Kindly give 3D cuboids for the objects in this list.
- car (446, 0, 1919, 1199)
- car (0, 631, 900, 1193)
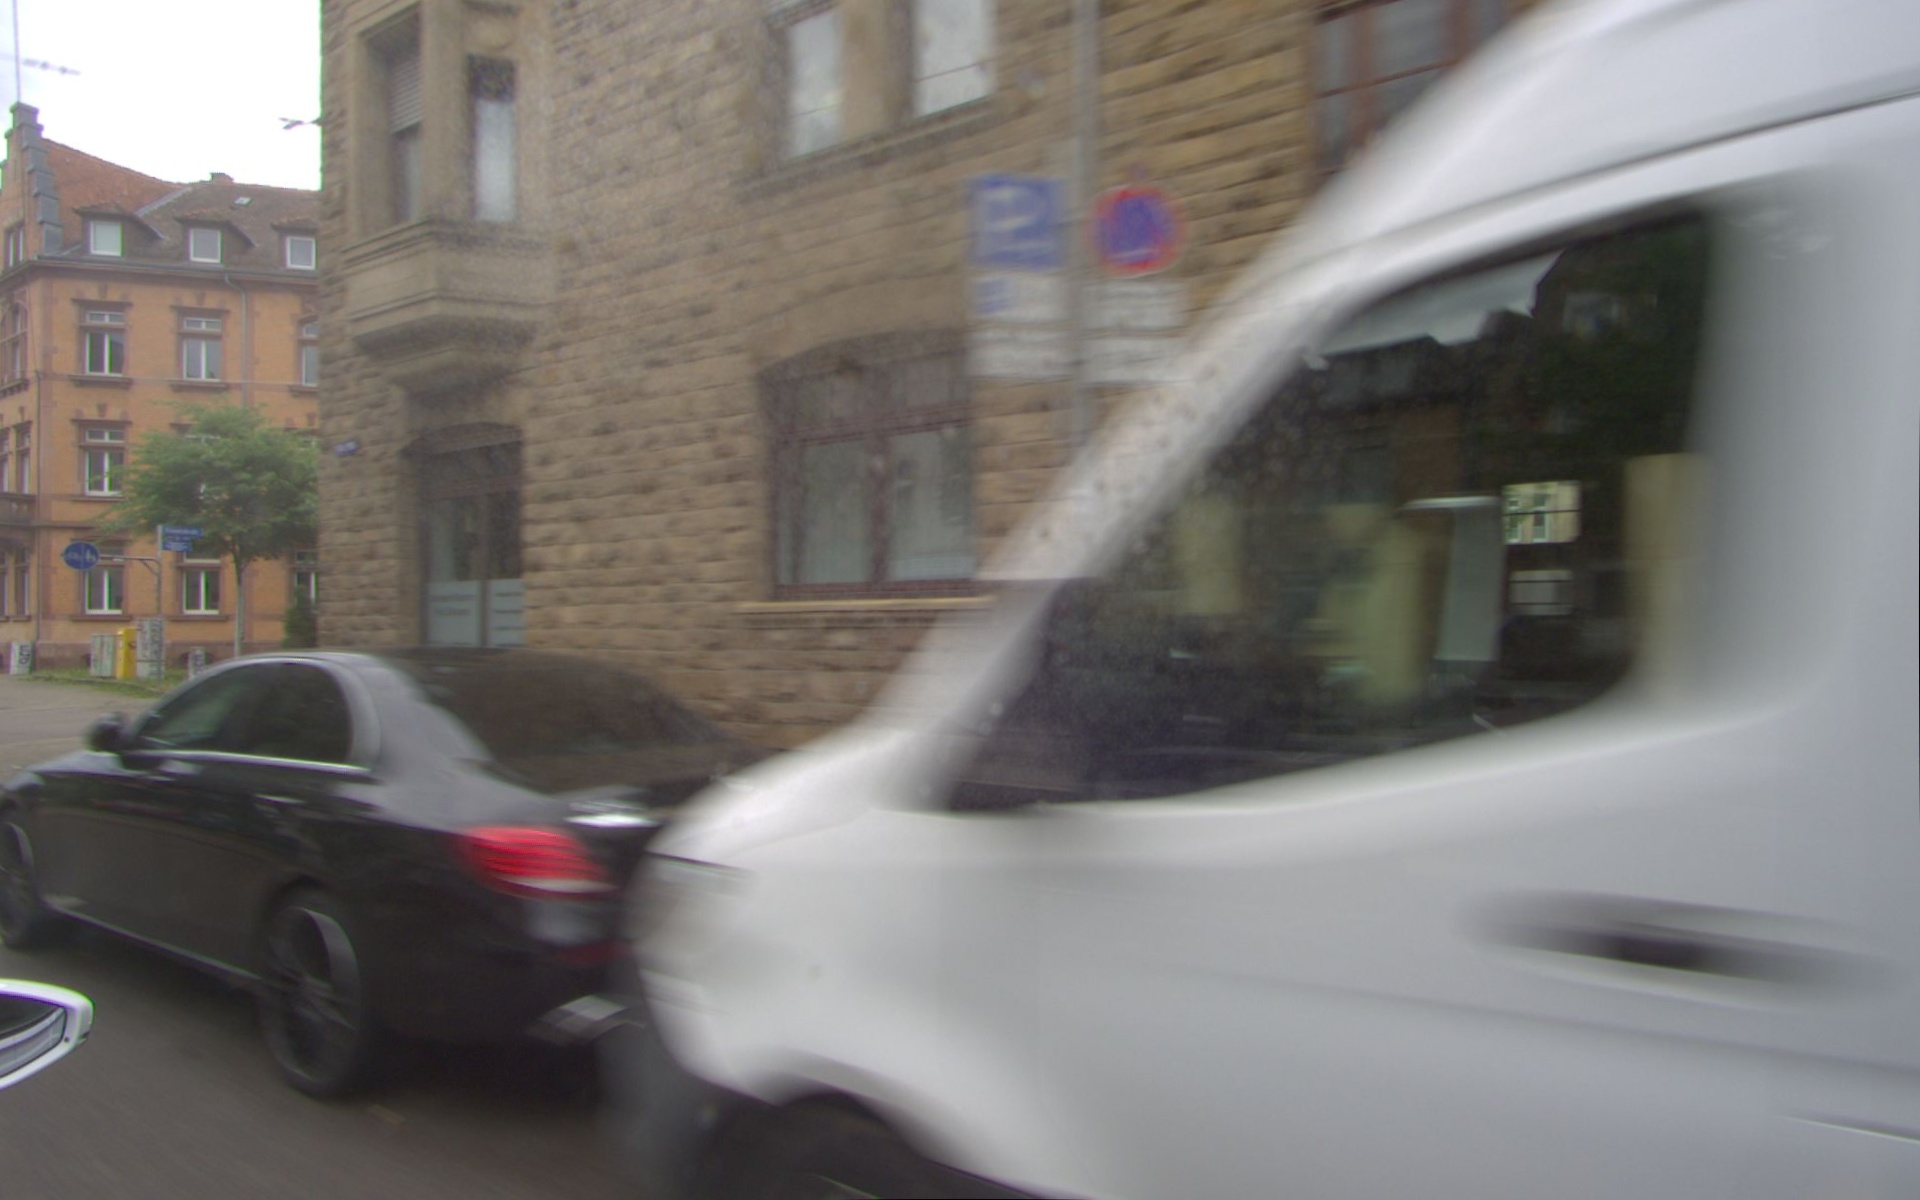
[{"bbox_3d":[2.383,0.277,1.155,6.916,2.580,2.011,-1,-3,32],"label":"car"},{"bbox_3d":[-2.816,0.904,4.749,4.935,1.468,1.821,-1,-3,32],"label":"car"}]
